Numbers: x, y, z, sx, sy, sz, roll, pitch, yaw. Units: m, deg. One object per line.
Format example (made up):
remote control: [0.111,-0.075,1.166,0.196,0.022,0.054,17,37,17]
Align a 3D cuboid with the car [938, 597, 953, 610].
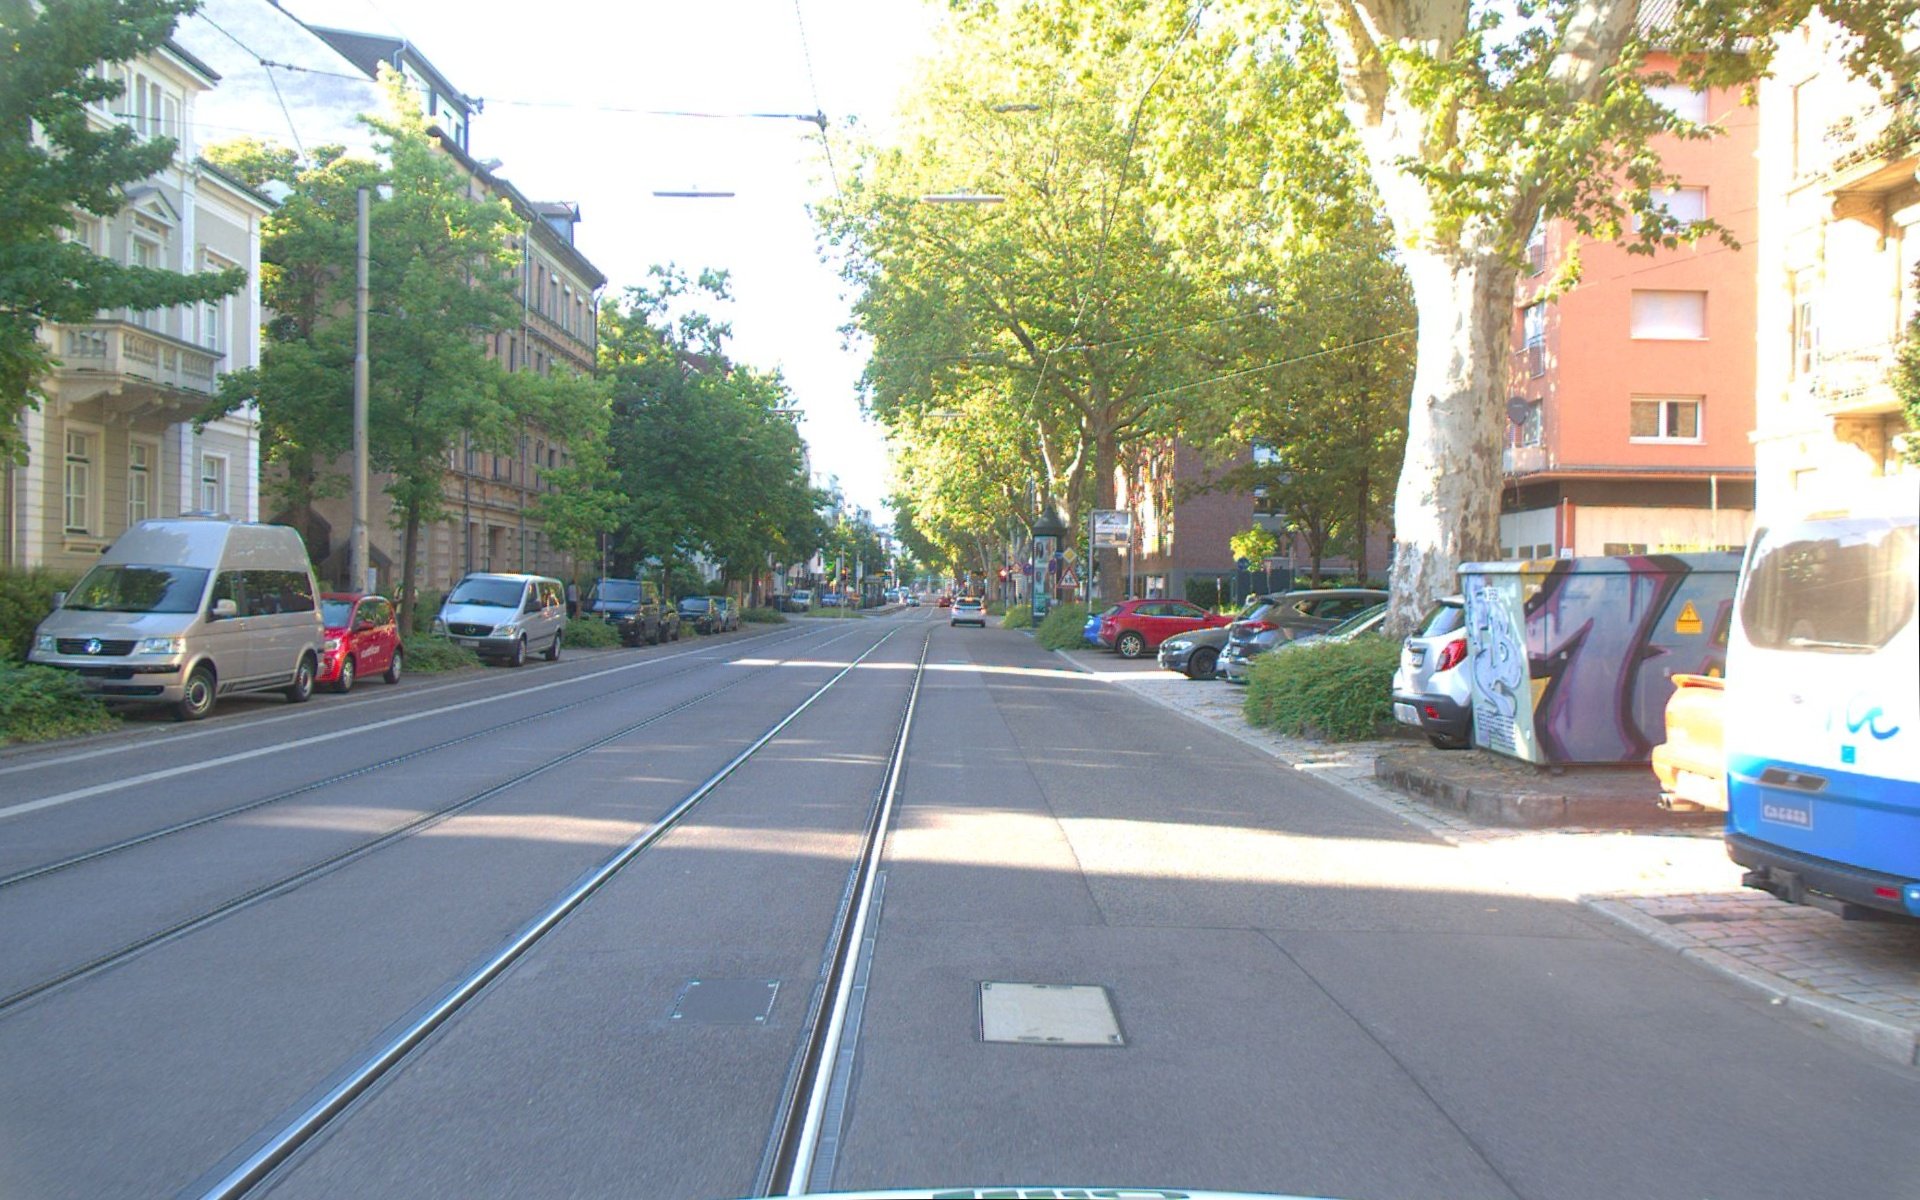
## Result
car: [-1.683,0.426,195.589,1.752,1.540,3.999,0,0,-1]

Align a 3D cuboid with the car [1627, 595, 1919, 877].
car: [6.298,0.728,10.112,3.706,1.514,1.789,-1,0,-3]

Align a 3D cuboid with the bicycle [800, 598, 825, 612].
bicycle: [-13.510,0.456,151.468,2.207,1.092,0.636,4,0,0]

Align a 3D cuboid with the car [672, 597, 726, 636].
car: [-10.438,0.630,66.334,1.624,1.470,3.948,1,0,-1]

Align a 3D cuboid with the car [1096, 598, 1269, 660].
car: [5.785,0.738,43.341,4.312,1.570,1.952,0,0,1]

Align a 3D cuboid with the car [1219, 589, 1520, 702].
car: [6.198,0.674,25.353,4.117,1.647,1.877,0,0,-4]

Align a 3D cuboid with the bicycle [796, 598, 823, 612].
bicycle: [-13.452,0.436,147.891,2.207,1.092,0.636,4,0,0]

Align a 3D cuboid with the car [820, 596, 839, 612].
car: [-13.310,0.391,168.612,1.561,1.575,3.999,3,0,-1]

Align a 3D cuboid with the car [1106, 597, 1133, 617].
car: [12.026,0.507,124.943,1.568,1.521,3.415,0,0,-2]

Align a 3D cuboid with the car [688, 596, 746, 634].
car: [-10.508,0.616,71.713,1.664,1.577,4.537,1,0,2]

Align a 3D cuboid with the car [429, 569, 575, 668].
car: [-10.004,0.375,36.510,1.806,2.023,4.988,0,0,0]

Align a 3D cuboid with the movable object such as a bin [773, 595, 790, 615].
movable object such as a bin: [-13.290,0.388,123.331,1.147,1.372,0.782,4,0,-5]

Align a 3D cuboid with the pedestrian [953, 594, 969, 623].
pedestrian: [0.058,0.540,103.925,0.975,1.843,0.863,0,0,-6]

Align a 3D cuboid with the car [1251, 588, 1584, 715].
car: [6.203,0.671,22.766,4.113,1.647,1.818,0,0,1]

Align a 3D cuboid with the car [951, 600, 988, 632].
car: [0.455,0.766,81.672,1.752,1.540,3.999,0,0,-1]

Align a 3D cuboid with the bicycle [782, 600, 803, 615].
bicycle: [-12.686,0.572,125.413,1.503,1.093,0.885,4,0,-2]

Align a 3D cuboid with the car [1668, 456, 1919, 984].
car: [6.026,0.419,7.430,4.750,2.049,2.192,-1,0,-4]

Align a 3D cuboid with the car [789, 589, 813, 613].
car: [-13.093,0.074,136.733,1.654,1.974,3.999,0,0,-1]

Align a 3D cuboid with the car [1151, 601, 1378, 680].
car: [5.922,0.770,32.465,4.114,1.473,1.817,0,0,-1]

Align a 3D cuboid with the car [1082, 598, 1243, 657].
car: [5.573,0.739,45.621,4.310,1.570,1.819,0,0,6]

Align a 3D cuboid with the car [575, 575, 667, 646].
car: [-10.332,0.307,50.773,1.953,2.049,4.832,0,0,-2]

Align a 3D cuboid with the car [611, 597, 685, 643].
car: [-10.506,0.640,55.938,1.815,1.484,4.268,0,0,-2]

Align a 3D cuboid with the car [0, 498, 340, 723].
car: [-10.092,0.112,21.468,2.258,2.552,5.341,0,0,-2]

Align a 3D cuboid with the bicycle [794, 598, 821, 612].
bicycle: [-13.332,0.452,144.352,2.207,1.092,0.636,4,0,0]

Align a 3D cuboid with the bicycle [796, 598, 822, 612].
bicycle: [-13.627,0.437,149.635,2.207,1.092,0.636,4,0,0]

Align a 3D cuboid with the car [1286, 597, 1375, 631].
car: [16.034,0.597,71.686,3.467,1.477,1.683,0,0,-3]

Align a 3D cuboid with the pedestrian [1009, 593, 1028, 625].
pedestrian: [3.574,0.539,101.535,0.964,1.896,1.015,-3,0,-6]

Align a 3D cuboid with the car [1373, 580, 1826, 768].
car: [6.118,0.671,16.105,3.706,1.647,1.789,-1,0,-3]

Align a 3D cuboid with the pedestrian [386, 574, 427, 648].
pedestrian: [-13.009,0.252,38.856,0.592,1.691,0.947,2,0,0]

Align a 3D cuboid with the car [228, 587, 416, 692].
car: [-10.169,0.586,26.638,1.651,1.566,3.706,0,0,-1]

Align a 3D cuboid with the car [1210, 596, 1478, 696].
car: [6.368,0.740,27.755,4.113,1.601,1.818,0,0,1]
